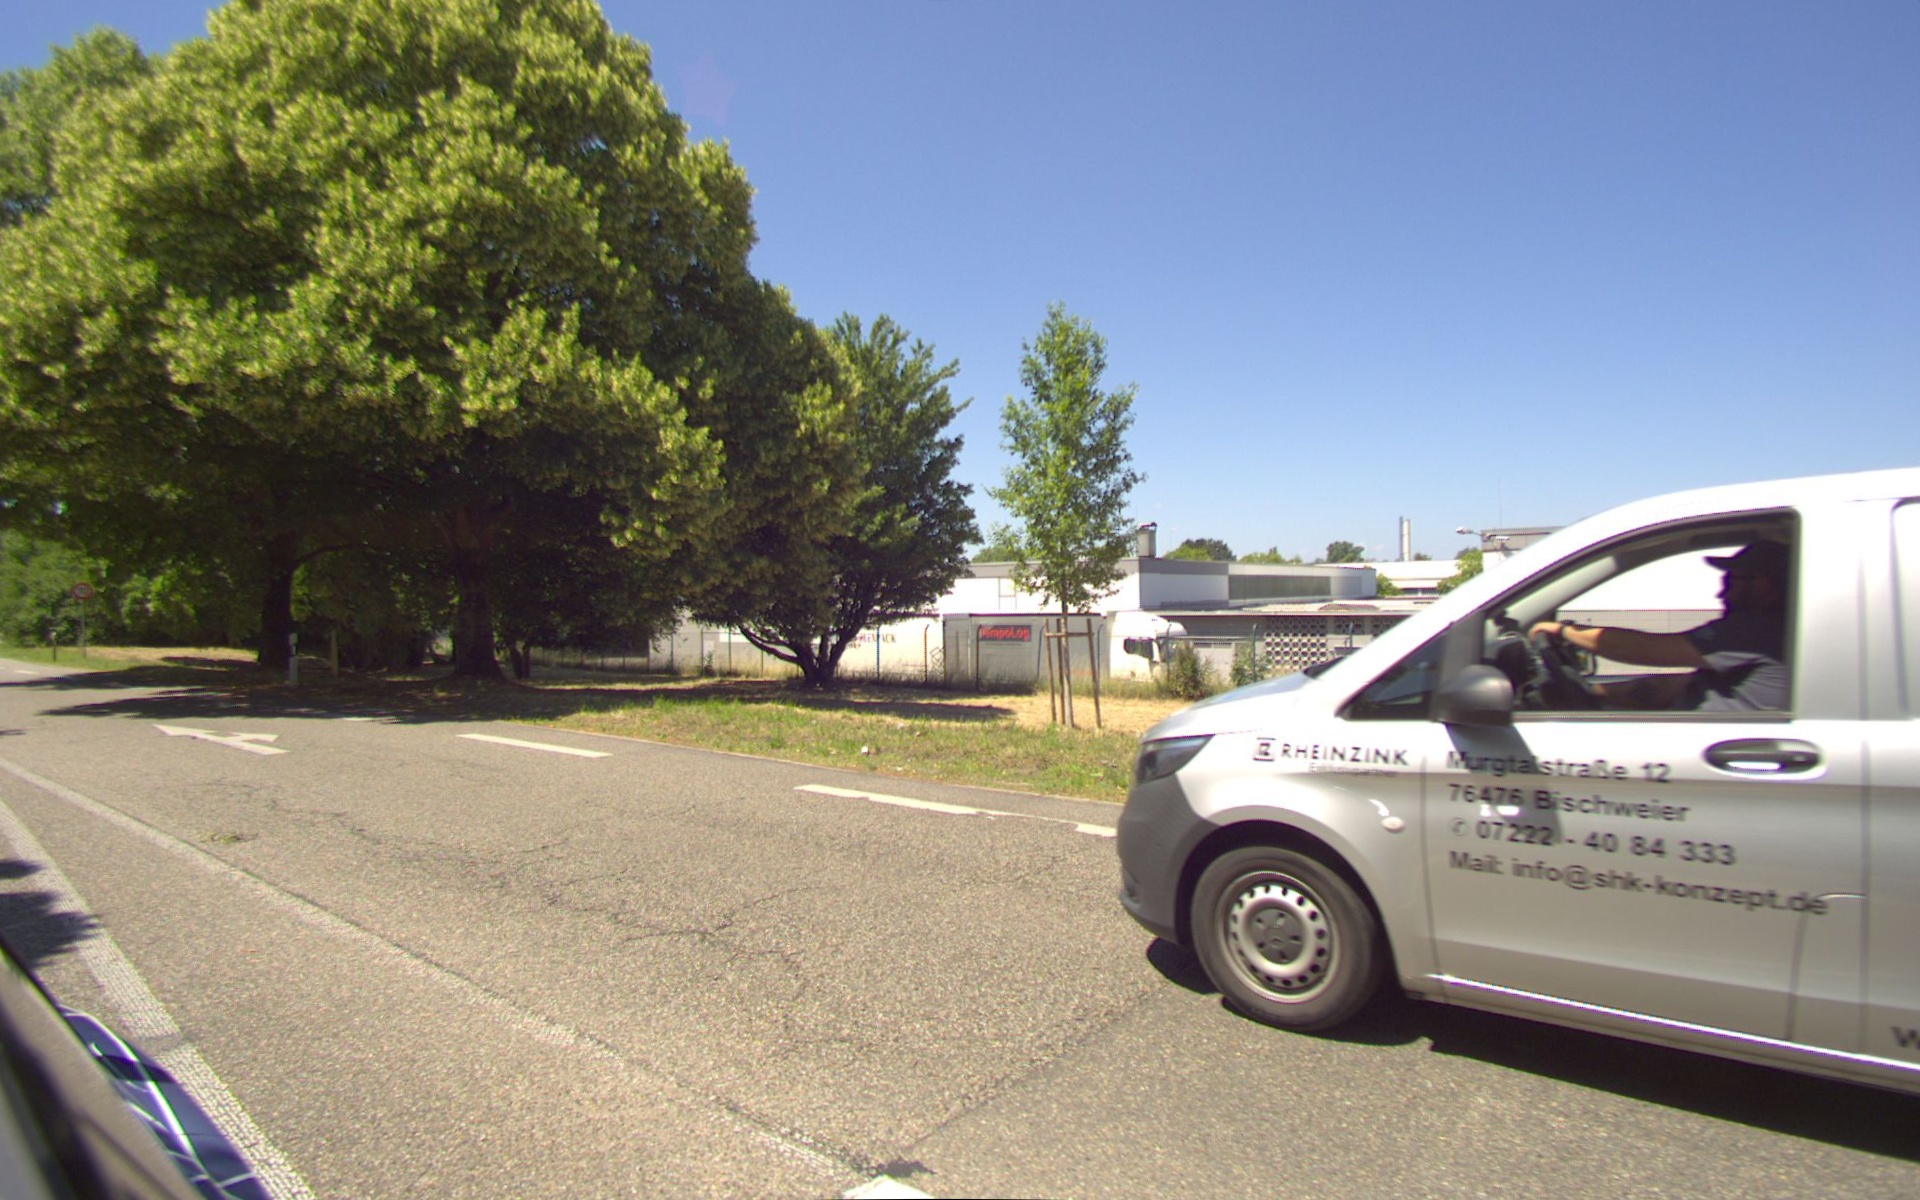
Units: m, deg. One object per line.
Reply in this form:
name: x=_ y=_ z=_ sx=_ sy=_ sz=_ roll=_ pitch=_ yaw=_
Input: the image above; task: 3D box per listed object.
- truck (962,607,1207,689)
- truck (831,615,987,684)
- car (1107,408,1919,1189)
truck: x=4.674 y=1.849 z=40.538 sx=10.161 sy=2.818 sz=2.655 roll=-2 pitch=0 yaw=44
truck: x=-2.556 y=2.248 z=47.703 sx=8.166 sy=2.950 sz=2.406 roll=-2 pitch=0 yaw=44
car: x=3.201 y=0.458 z=2.845 sx=5.291 sy=1.848 sz=1.860 roll=-2 pitch=-1 yaw=38
